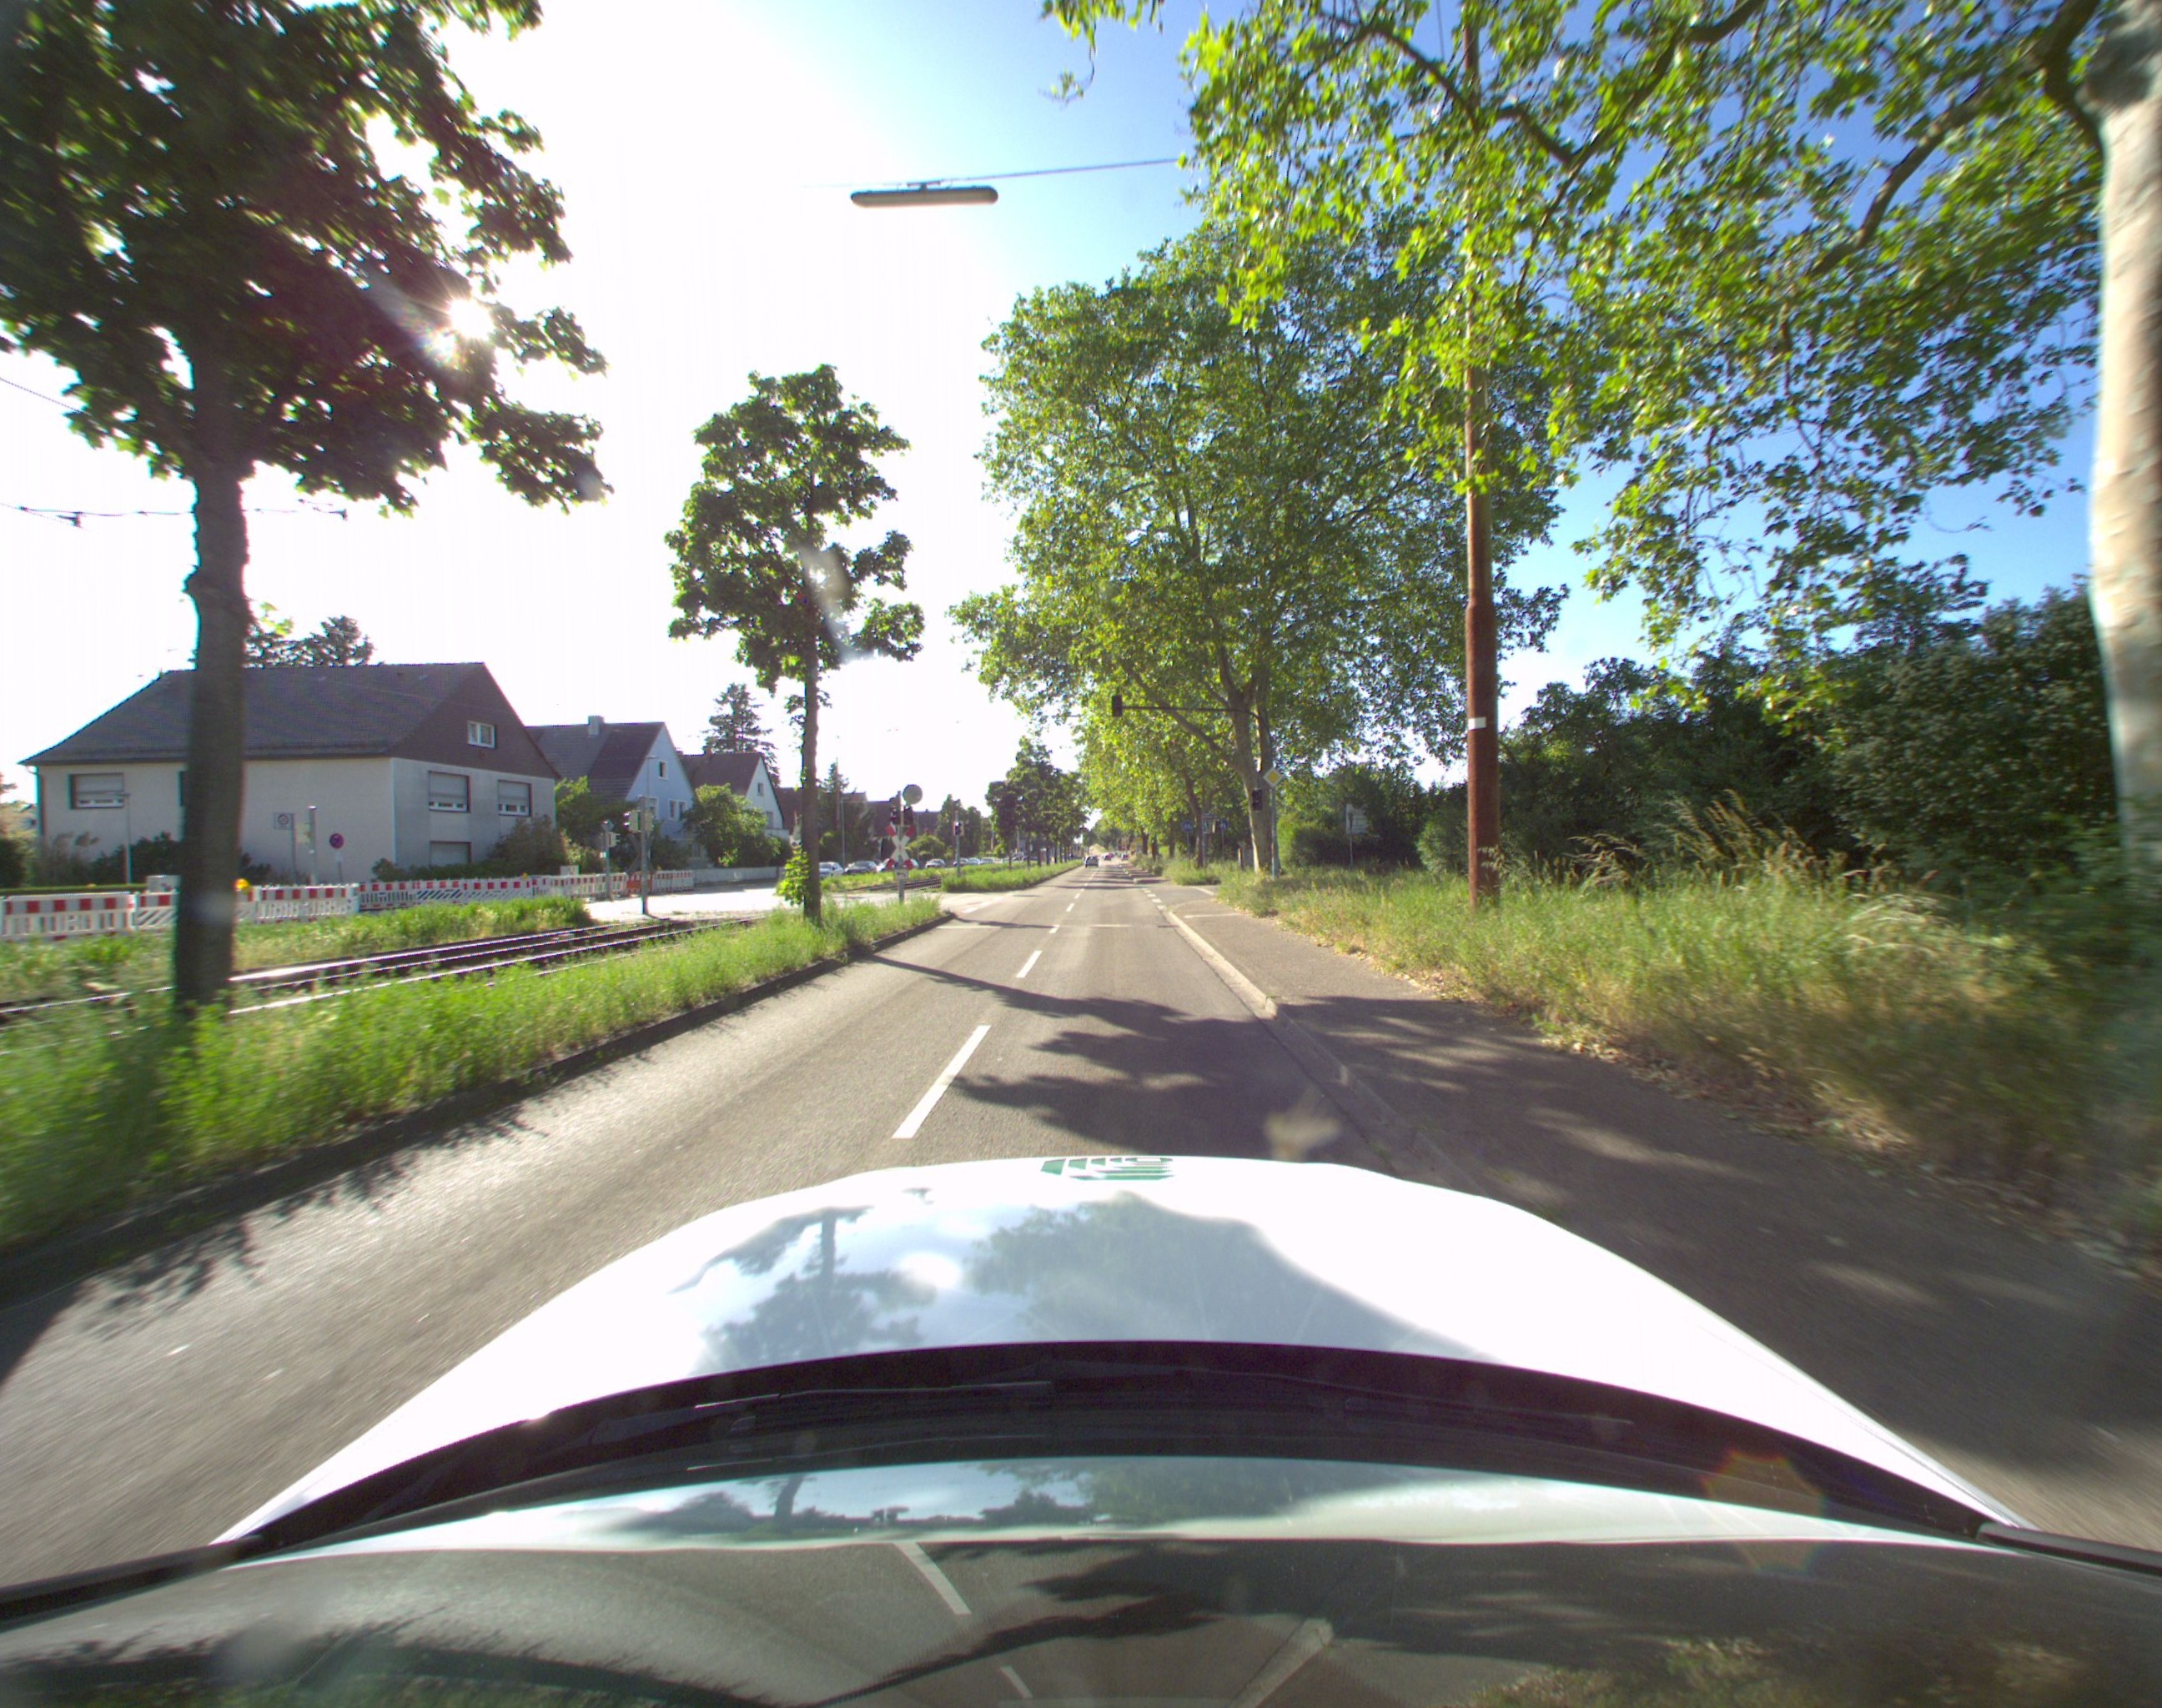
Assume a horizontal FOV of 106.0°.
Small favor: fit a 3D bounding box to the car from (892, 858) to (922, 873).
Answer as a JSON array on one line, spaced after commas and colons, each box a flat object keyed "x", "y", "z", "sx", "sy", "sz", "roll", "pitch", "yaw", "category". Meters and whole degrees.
[{"x": -18.404, "y": 1.167, "z": 86.400, "sx": 1.986, "sy": 1.545, "sz": 4.782, "roll": 0, "pitch": 0, "yaw": 2, "category": "car"}]

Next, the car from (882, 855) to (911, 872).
[{"x": -18.395, "y": 0.915, "z": 81.305, "sx": 1.741, "sy": 1.651, "sz": 4.556, "roll": 0, "pitch": 0, "yaw": 2, "category": "car"}]

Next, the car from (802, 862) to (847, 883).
[{"x": -19.128, "y": 1.347, "z": 60.884, "sx": 1.853, "sy": 1.542, "sz": 4.229, "roll": 0, "pitch": 0, "yaw": 1, "category": "car"}]

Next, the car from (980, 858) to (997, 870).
[{"x": -12.578, "y": 1.378, "z": 110.797, "sx": 1.654, "sy": 1.552, "sz": 4.812, "roll": 0, "pitch": 0, "yaw": 2, "category": "car"}]

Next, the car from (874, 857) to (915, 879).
[{"x": -14.169, "y": 1.069, "z": 62.121, "sx": 1.986, "sy": 1.603, "sz": 4.474, "roll": 0, "pitch": 0, "yaw": 1, "category": "car"}]

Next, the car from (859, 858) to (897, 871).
[{"x": -23.692, "y": 1.209, "z": 95.273, "sx": 3.904, "sy": 1.452, "sz": 1.889, "roll": 1, "pitch": 1, "yaw": 1, "category": "car"}]

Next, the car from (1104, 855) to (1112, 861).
[{"x": 6.615, "y": 0.941, "z": 198.440, "sx": 1.785, "sy": 1.559, "sz": 4.229, "roll": 0, "pitch": 0, "yaw": 1, "category": "car"}]

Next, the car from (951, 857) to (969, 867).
[{"x": -17.655, "y": 1.179, "z": 118.841, "sx": 1.853, "sy": 1.413, "sz": 4.159, "roll": 0, "pitch": 0, "yaw": 1, "category": "car"}]

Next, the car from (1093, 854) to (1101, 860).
[{"x": 3.992, "y": 0.734, "z": 202.808, "sx": 1.986, "sy": 1.603, "sz": 4.474, "roll": 0, "pitch": 0, "yaw": 1, "category": "car"}]

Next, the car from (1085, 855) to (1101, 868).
[{"x": 1.451, "y": 0.944, "z": 99.794, "sx": 1.853, "sy": 1.601, "sz": 4.229, "roll": 0, "pitch": 0, "yaw": 1, "category": "car"}]

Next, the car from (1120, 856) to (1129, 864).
[{"x": 9.179, "y": 1.304, "z": 172.106, "sx": 1.986, "sy": 1.603, "sz": 4.474, "roll": 0, "pitch": 0, "yaw": 1, "category": "car"}]

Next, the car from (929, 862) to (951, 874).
[{"x": -17.373, "y": 1.711, "z": 100.478, "sx": 1.853, "sy": 1.369, "sz": 4.229, "roll": 0, "pitch": 0, "yaw": 1, "category": "car"}]

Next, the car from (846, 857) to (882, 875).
[{"x": -18.534, "y": 0.981, "z": 69.867, "sx": 1.723, "sy": 1.466, "sz": 4.604, "roll": 0, "pitch": 0, "yaw": 2, "category": "car"}]

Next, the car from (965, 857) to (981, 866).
[{"x": -17.074, "y": 1.167, "z": 128.705, "sx": 1.853, "sy": 1.431, "sz": 4.463, "roll": 0, "pitch": 0, "yaw": 1, "category": "car"}]
